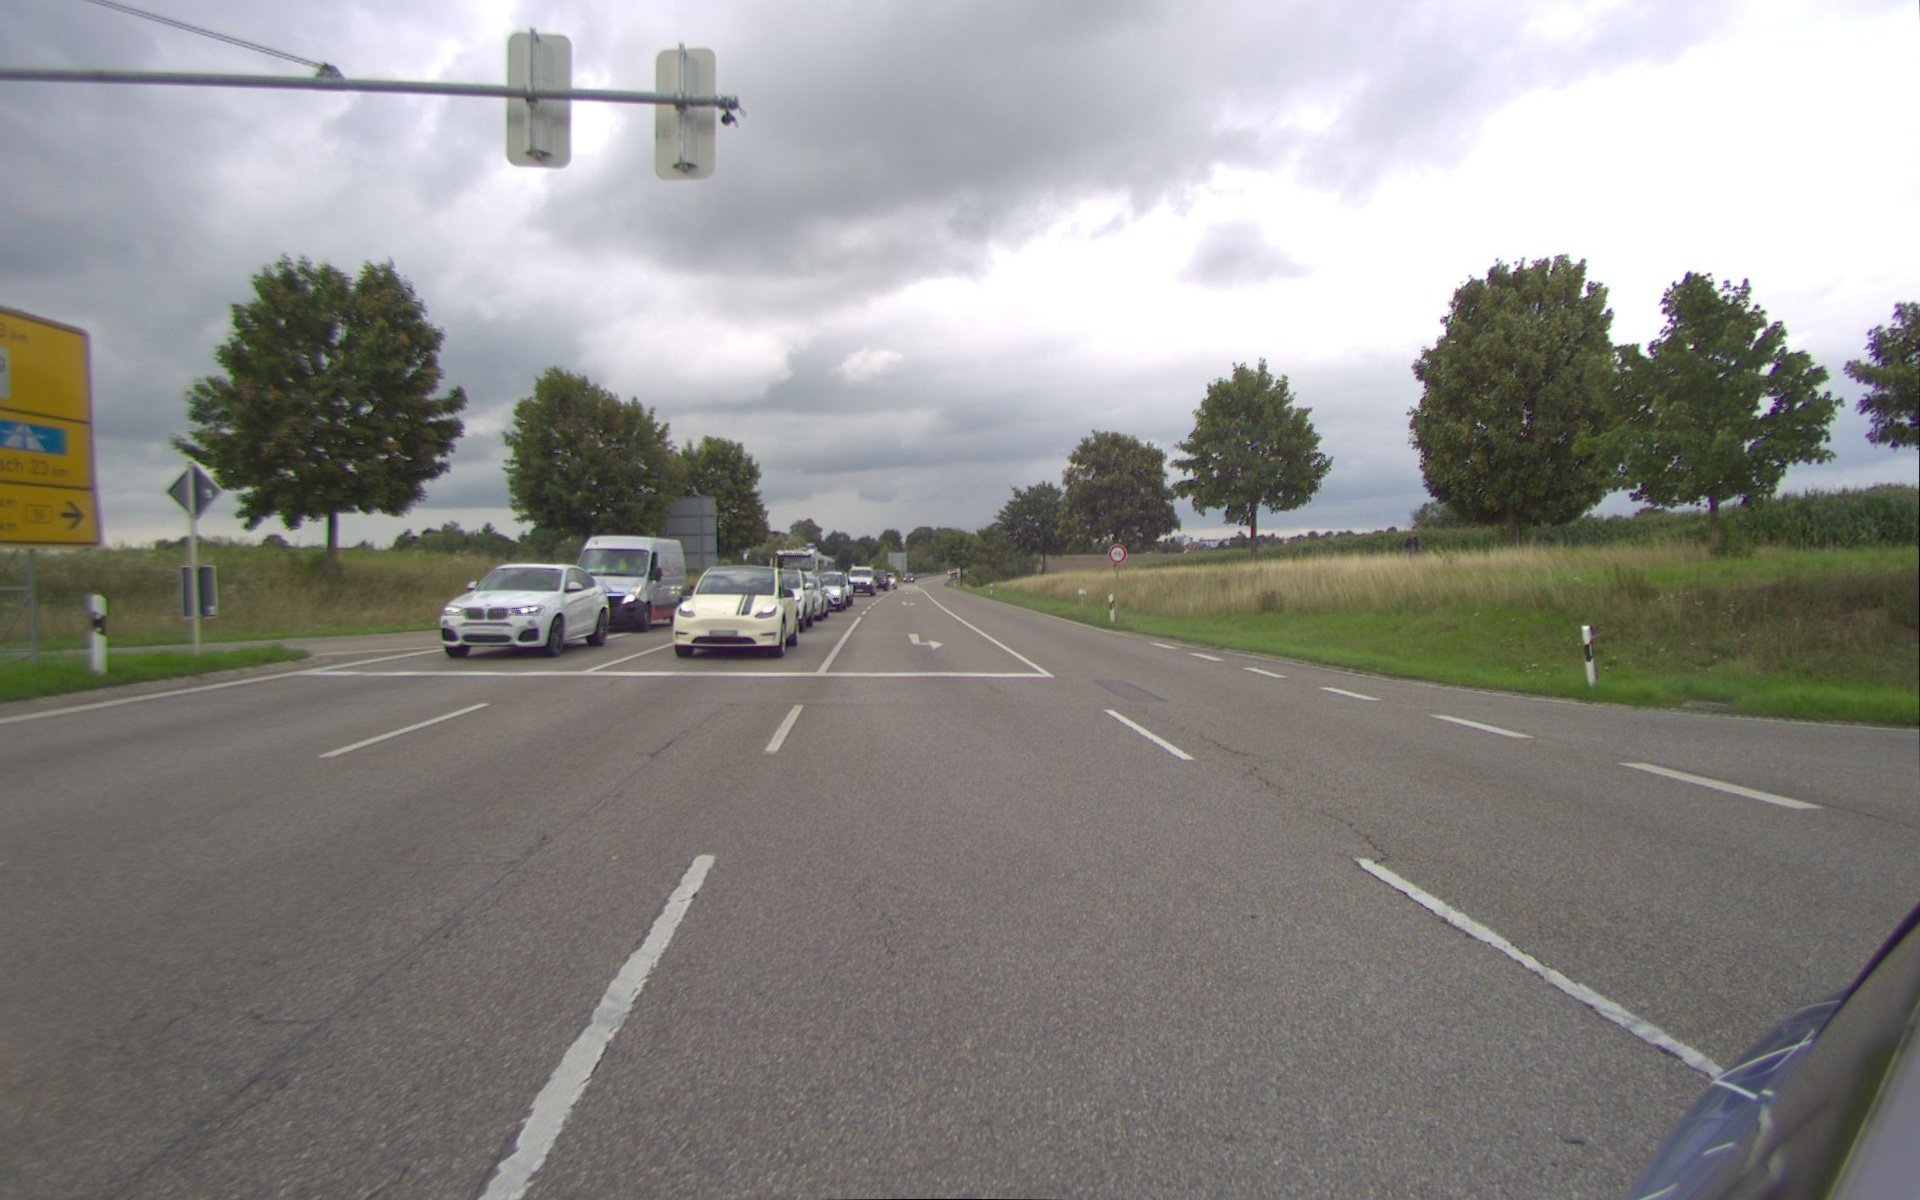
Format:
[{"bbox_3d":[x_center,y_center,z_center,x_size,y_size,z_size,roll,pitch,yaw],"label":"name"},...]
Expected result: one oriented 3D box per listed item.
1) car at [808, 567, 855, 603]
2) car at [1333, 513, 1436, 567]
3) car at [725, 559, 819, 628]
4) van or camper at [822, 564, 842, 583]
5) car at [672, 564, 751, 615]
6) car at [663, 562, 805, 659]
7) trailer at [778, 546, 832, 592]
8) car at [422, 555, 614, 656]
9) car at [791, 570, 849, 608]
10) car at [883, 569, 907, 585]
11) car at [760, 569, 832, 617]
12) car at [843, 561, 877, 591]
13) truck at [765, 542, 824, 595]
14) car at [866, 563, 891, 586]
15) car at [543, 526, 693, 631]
[{"bbox_3d":[-5.987,-0.741,47.555,1.960,1.612,4.452,0,2,-4],"label":"car"},{"bbox_3d":[17.432,-2.430,41.808,1.959,2.038,4.008,-2,1,-11],"label":"car"},{"bbox_3d":[-4.910,-0.220,26.959,1.960,1.649,4.327,-1,2,-4],"label":"car"},{"bbox_3d":[-14.486,-3.043,114.743,1.961,2.038,4.004,-2,1,-3],"label":"van or camper"},{"bbox_3d":[-8.686,-0.422,35.703,1.960,1.649,4.279,-1,2,-4],"label":"car"},{"bbox_3d":[-4.143,0.101,19.311,1.960,1.584,4.754,-1,2,-4],"label":"car"},{"bbox_3d":[-11.193,-2.250,74.032,3.047,3.129,10.673,0,2,-4],"label":"trailer"},{"bbox_3d":[-7.954,0.027,18.683,1.960,1.649,4.280,0,2,-5],"label":"car"},{"bbox_3d":[-5.660,-0.489,41.374,1.961,1.436,4.451,0,2,-3],"label":"car"},{"bbox_3d":[-6.739,-2.408,104.458,2.126,1.616,4.763,0,2,-7],"label":"car"},{"bbox_3d":[-5.336,-0.293,33.413,1.960,1.473,4.586,0,2,-4],"label":"car"},{"bbox_3d":[-6.909,-1.668,70.411,2.127,2.038,4.684,0,1,-3],"label":"car"},{"bbox_3d":[-10.527,-2.005,64.994,3.047,3.148,7.414,0,1,-4],"label":"truck"},{"bbox_3d":[-7.457,-2.298,92.481,2.127,2.038,4.531,0,1,-3],"label":"car"},{"bbox_3d":[-8.902,-0.595,26.960,2.351,2.472,5.518,-1,2,-3],"label":"car"}]
